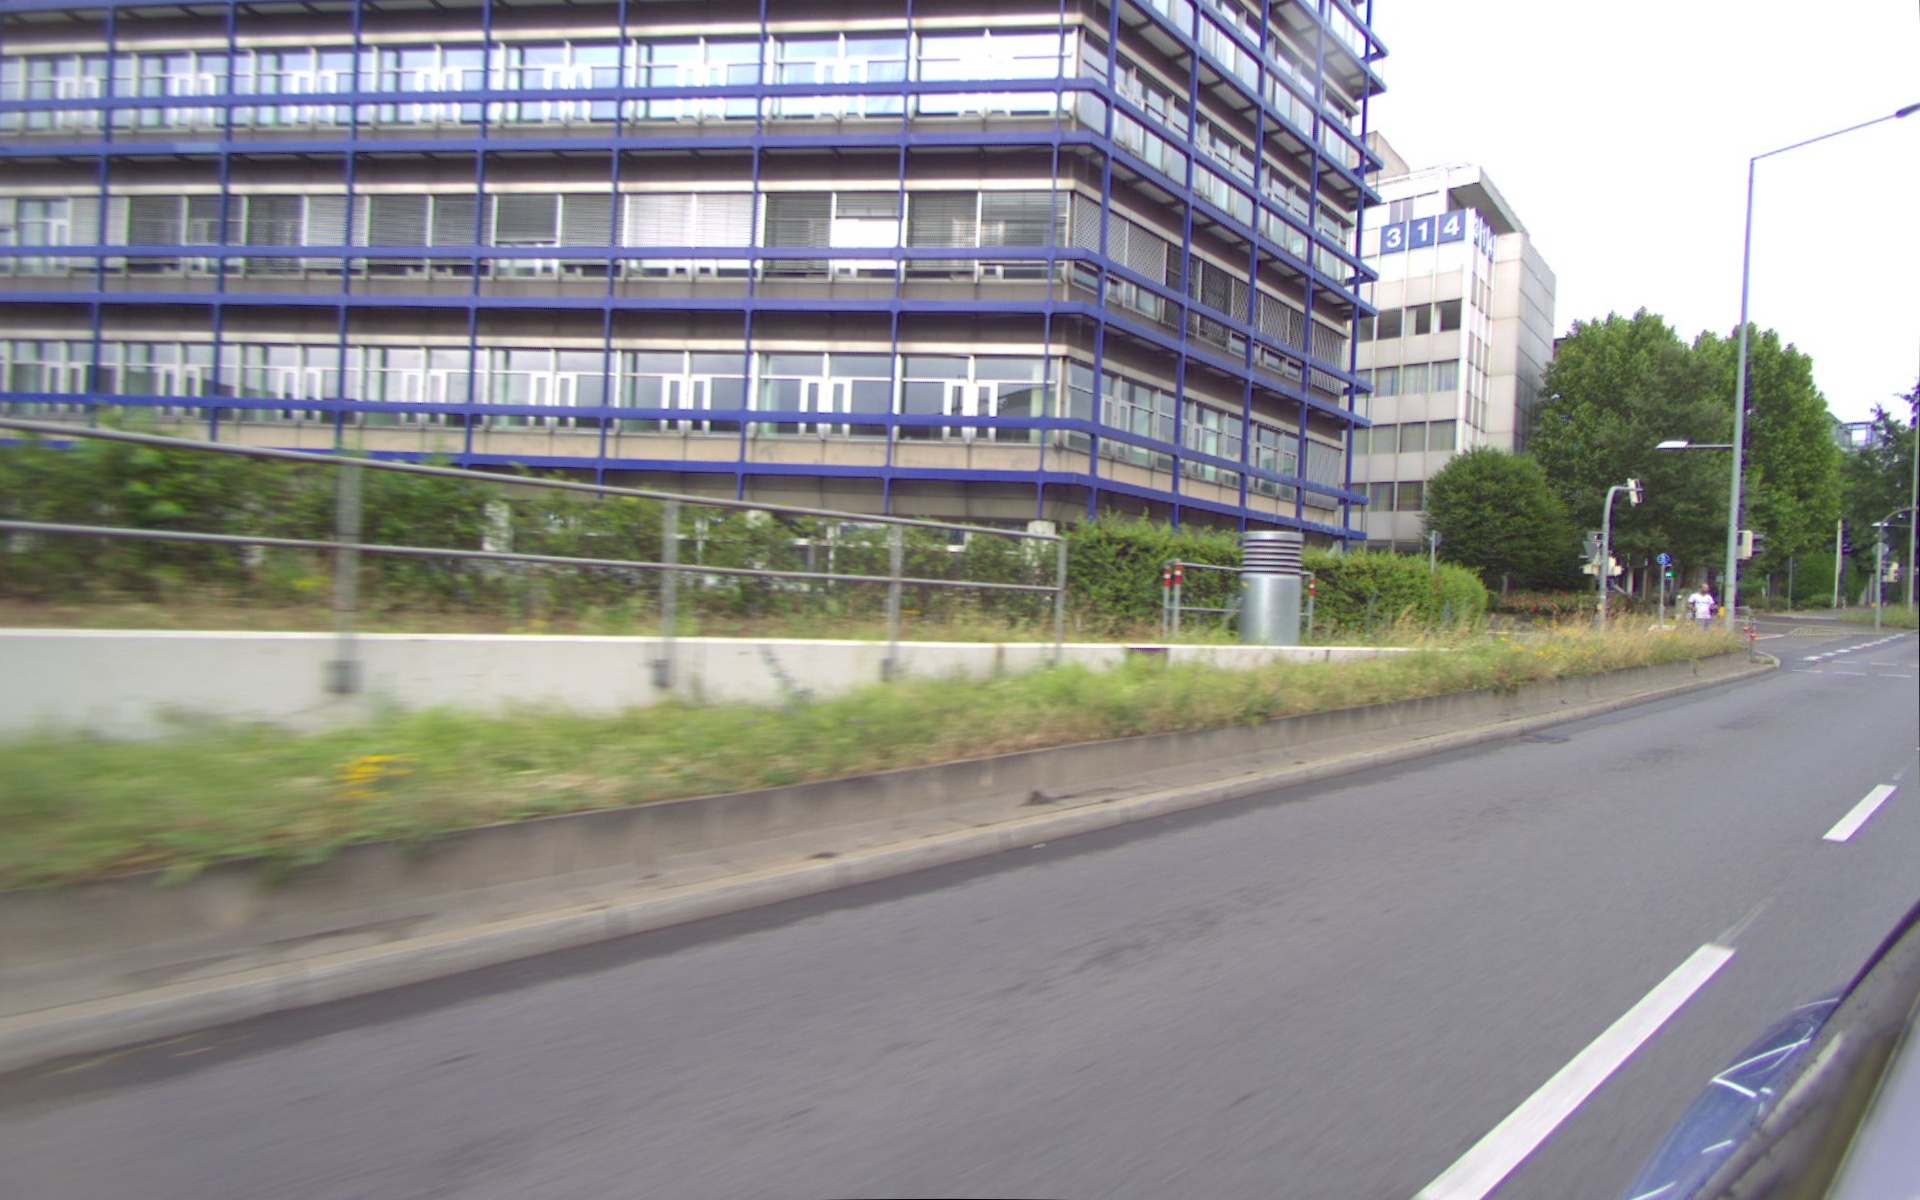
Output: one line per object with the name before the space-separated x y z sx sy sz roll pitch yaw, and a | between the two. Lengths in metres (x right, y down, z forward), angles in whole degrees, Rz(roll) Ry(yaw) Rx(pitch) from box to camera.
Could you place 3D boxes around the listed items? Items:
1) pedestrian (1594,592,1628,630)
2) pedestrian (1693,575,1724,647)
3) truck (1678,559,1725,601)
pedestrian | 27.342 0.453 42.516 0.784 1.560 0.905 1 1 -3
pedestrian | 17.837 0.256 24.110 0.553 1.673 0.820 1 1 39
truck | 45.613 -1.224 62.229 1.746 2.549 3.936 0 1 44
